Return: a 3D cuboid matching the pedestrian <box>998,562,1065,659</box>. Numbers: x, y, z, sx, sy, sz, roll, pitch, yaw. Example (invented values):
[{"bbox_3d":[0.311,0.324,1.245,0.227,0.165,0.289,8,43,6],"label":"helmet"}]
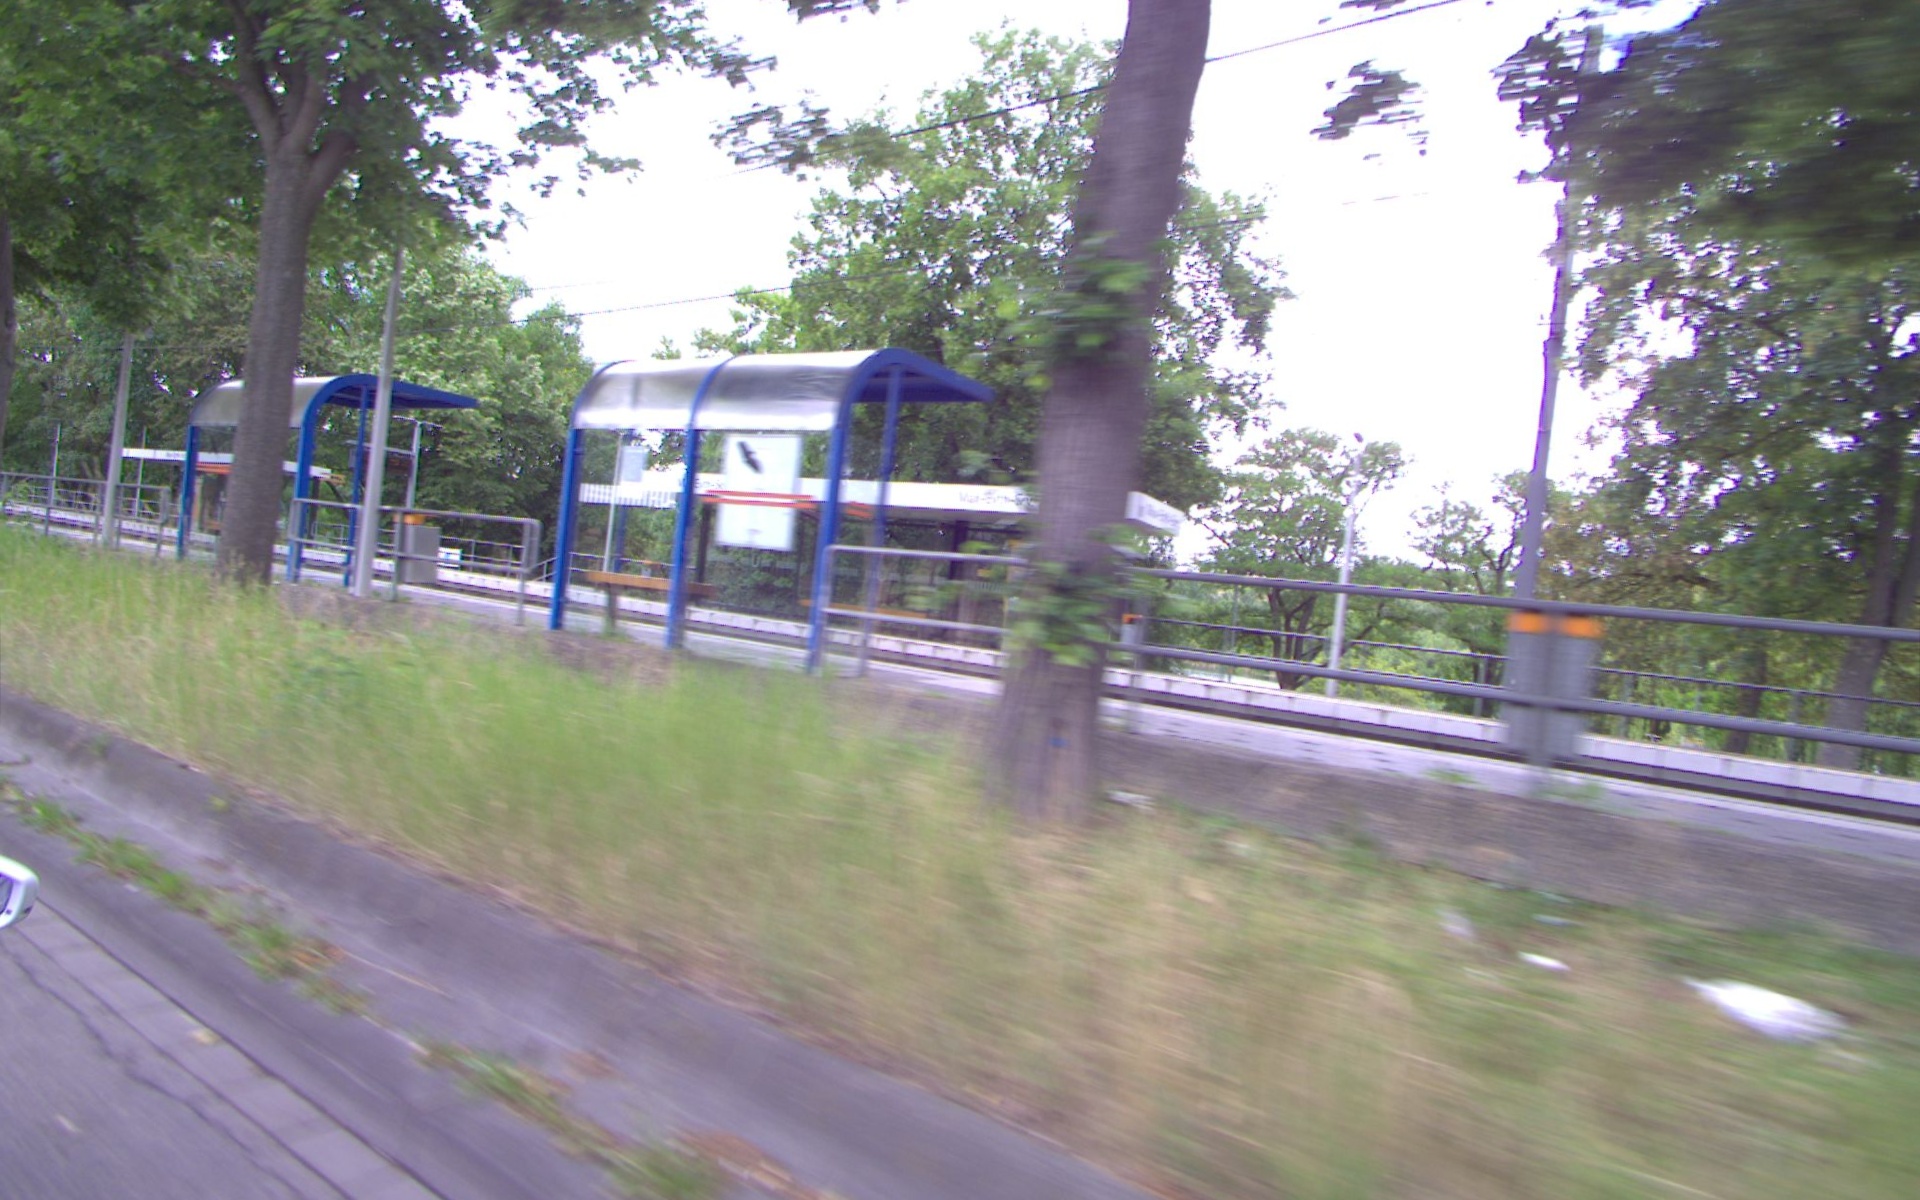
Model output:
[{"bbox_3d":[1.228,0.179,17.166,0.712,1.528,0.719,6,-2,35],"label":"pedestrian"}]
